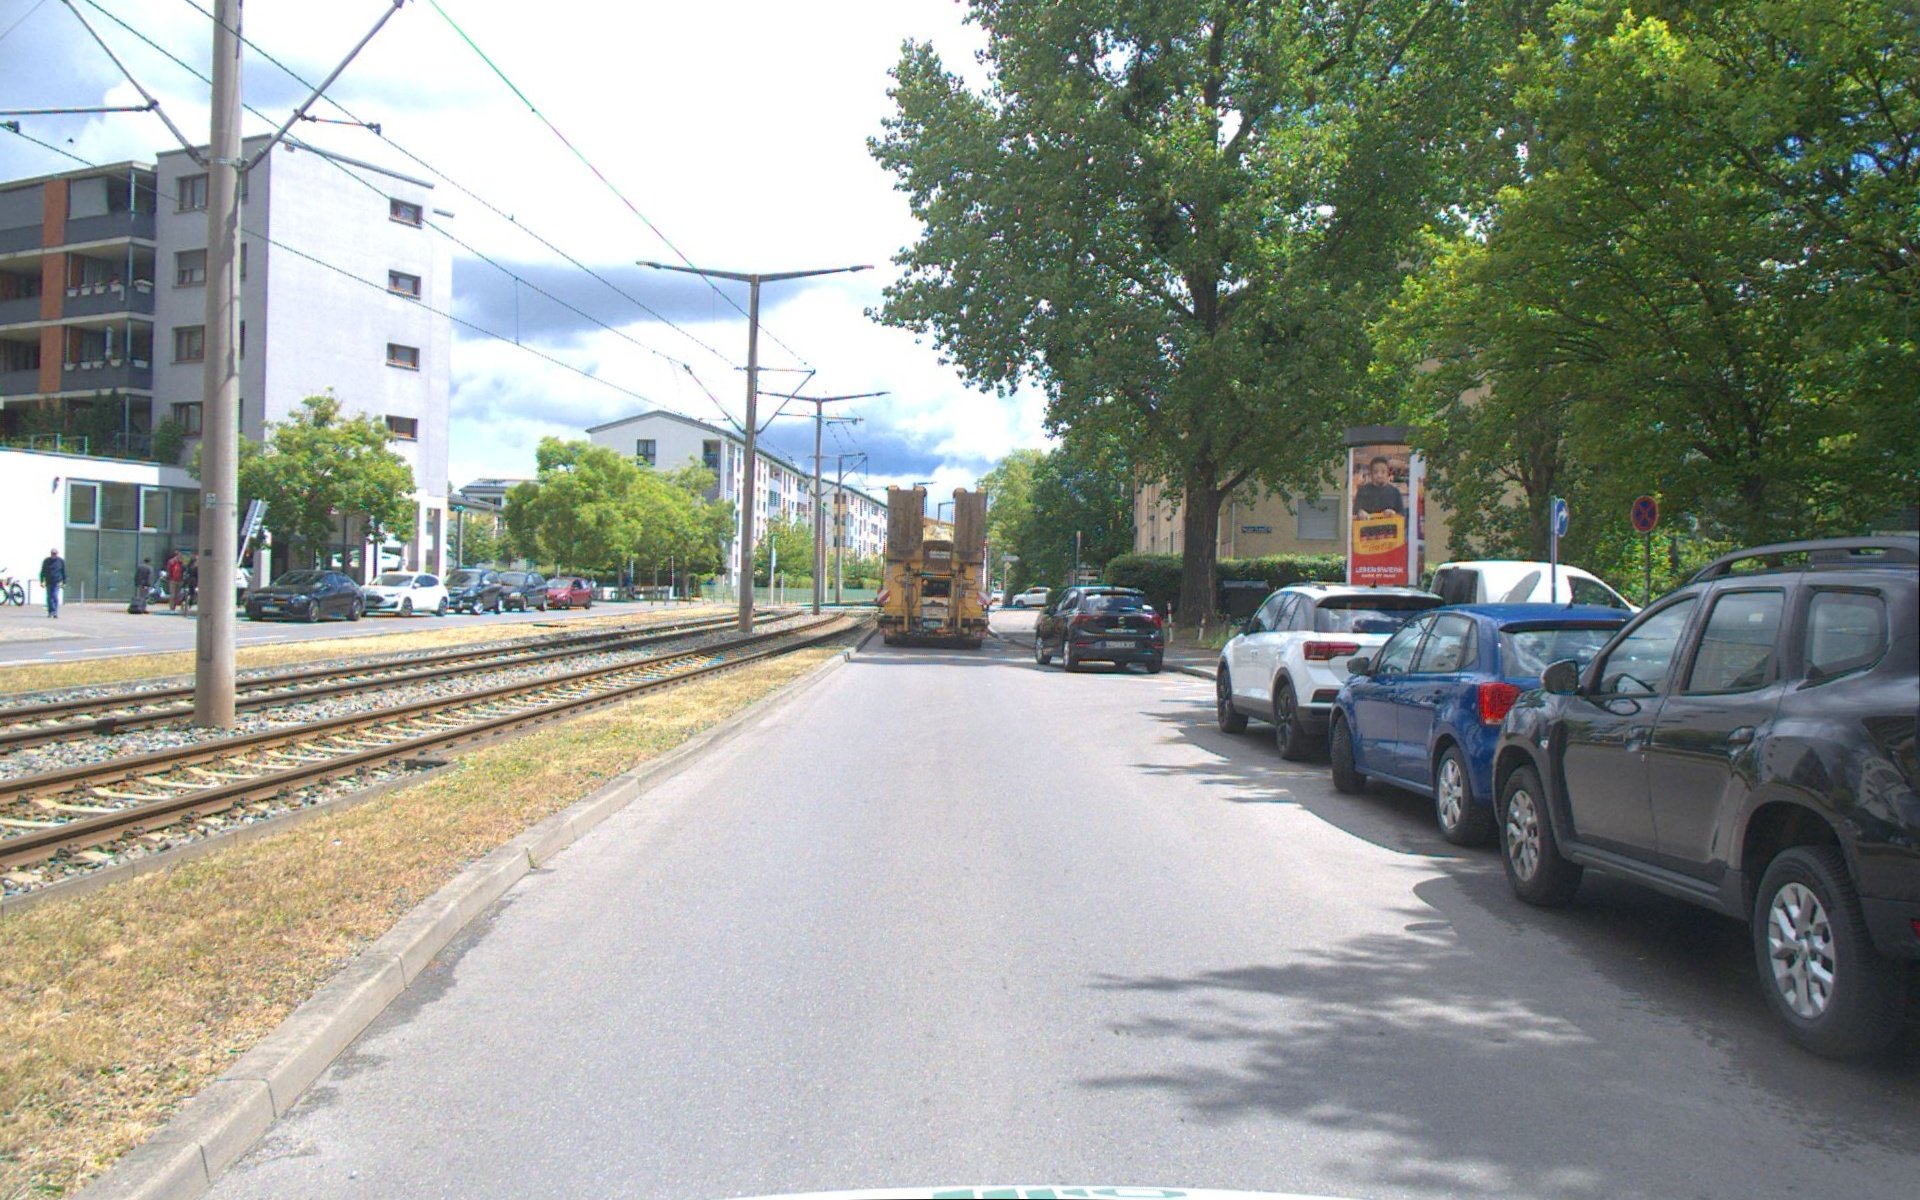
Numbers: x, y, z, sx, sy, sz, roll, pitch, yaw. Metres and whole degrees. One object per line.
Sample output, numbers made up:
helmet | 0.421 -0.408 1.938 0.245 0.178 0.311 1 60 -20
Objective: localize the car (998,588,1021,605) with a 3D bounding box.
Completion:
car | 4.292 -0.336 143.270 1.952 1.411 4.001 0 1 1

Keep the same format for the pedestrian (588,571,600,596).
pedestrian | -23.379 -1.079 105.594 0.533 1.574 0.528 0 1 22

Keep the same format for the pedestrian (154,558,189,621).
pedestrian | -23.256 -0.308 48.772 0.598 1.824 0.843 0 1 1

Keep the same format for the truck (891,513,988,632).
truck | -0.638 -0.859 51.433 2.776 3.388 7.984 0 1 -1

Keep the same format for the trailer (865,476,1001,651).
trailer | -0.655 -0.916 42.174 2.988 3.838 11.611 0 1 -1

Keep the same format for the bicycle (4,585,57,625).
bicycle | -29.710 0.144 52.872 1.932 1.233 0.667 0 1 33

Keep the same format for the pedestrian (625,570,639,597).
pedestrian | -19.580 -1.012 98.714 0.609 1.600 0.558 0 1 13

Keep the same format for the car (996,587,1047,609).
car | 4.654 -0.154 124.527 3.521 1.612 2.002 0 -1 14

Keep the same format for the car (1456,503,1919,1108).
car | 3.607 0.568 6.938 1.610 1.793 4.569 0 1 -1

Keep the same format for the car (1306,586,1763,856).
car | 3.697 0.666 11.440 1.611 1.483 4.074 0 1 -2

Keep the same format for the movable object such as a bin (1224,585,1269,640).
movable object such as a bin | 7.748 0.334 44.808 1.076 1.464 0.761 0 1 -1

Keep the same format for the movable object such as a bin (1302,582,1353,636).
movable object such as a bin | 10.024 0.238 45.131 1.145 1.464 1.057 0 1 -1

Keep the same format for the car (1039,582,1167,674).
car | 2.464 0.442 29.304 1.779 1.474 3.825 0 1 -2

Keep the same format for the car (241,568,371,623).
car | -18.734 -0.145 47.581 1.698 1.453 4.383 2 1 4

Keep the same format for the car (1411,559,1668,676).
car | 9.782 0.239 27.928 3.932 1.854 1.798 -1 1 -22

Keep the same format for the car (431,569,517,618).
car | -17.881 -0.278 61.053 1.953 1.691 4.100 1 1 -1

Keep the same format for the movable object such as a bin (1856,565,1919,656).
movable object such as a bin | 15.604 0.152 27.156 1.092 1.454 1.285 0 1 -1

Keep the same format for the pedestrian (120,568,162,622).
pedestrian | -23.977 -0.161 48.439 0.588 1.560 0.974 0 1 14

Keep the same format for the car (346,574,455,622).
car | -18.545 -0.100 55.014 1.717 1.501 4.404 0 1 7

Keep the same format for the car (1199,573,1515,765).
car | 3.679 0.538 16.188 1.748 1.592 4.567 0 1 -4

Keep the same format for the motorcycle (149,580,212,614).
motorcycle | -27.450 -0.112 58.235 1.853 1.199 0.741 0 1 -1

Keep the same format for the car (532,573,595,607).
car | -17.682 -0.476 73.872 1.579 1.451 3.426 0 1 8

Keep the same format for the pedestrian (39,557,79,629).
pedestrian | -23.444 -0.192 43.028 0.834 1.824 0.863 -1 1 -35

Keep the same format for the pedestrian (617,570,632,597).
pedestrian | -19.828 -0.985 97.694 0.609 1.600 0.698 0 1 13

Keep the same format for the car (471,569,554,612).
car | -18.027 -0.401 66.799 1.951 1.676 4.102 0 1 4

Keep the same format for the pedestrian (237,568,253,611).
pedestrian | -25.115 -0.379 58.120 0.491 1.485 0.556 -1 1 -26

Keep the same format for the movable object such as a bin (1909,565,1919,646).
movable object such as a bin | 17.680 0.103 29.196 1.092 1.454 1.285 0 1 -1

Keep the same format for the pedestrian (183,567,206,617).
pedestrian | -24.418 -0.256 52.773 0.655 1.601 0.683 -1 1 -26
